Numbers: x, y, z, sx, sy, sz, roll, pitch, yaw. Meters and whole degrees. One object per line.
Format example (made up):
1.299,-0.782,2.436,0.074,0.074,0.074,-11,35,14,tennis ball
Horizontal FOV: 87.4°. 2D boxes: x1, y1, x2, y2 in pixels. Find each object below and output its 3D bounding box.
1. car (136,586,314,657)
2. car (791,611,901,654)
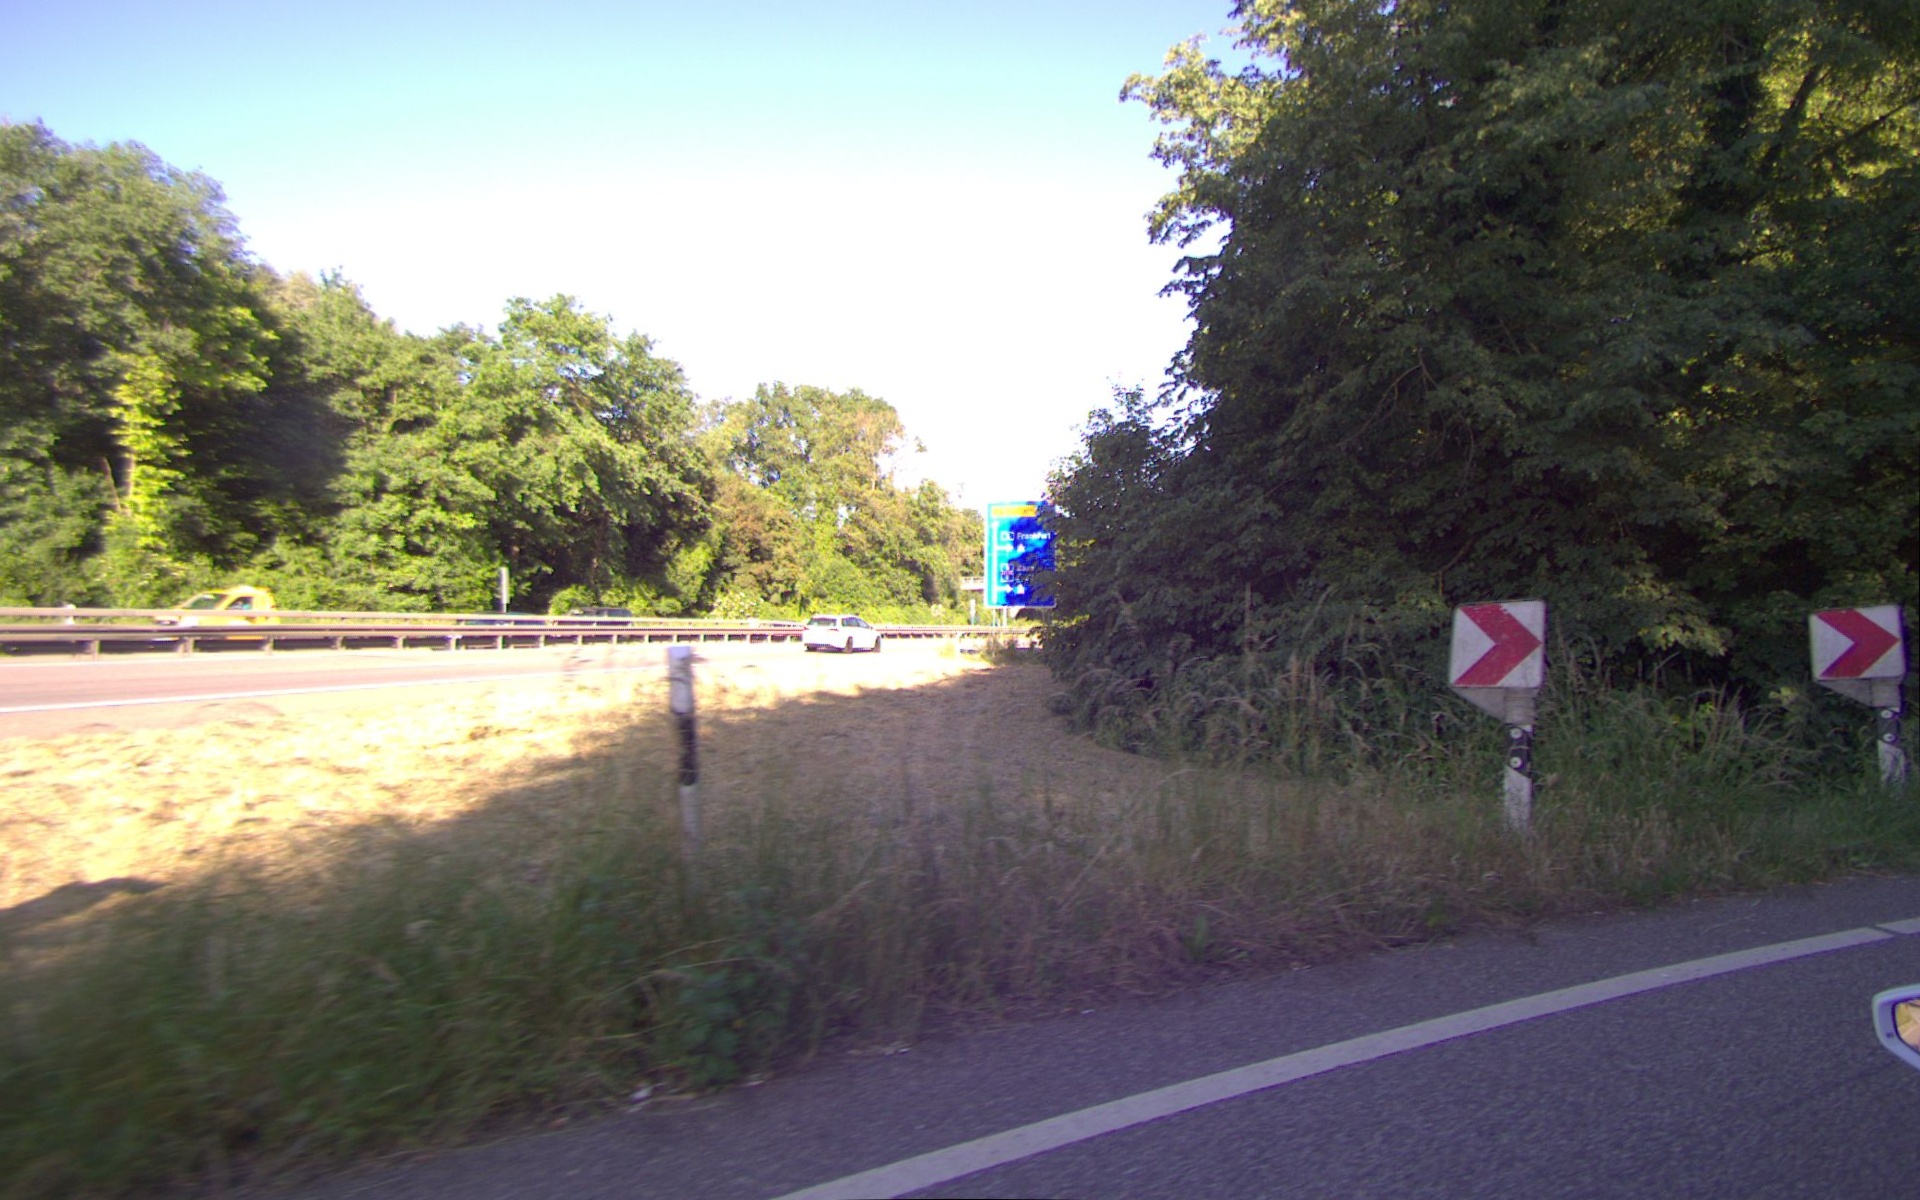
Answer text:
-22.722,0.696,31.232,1.961,2.040,4.000,1,-2,21,car
-4.407,1.301,39.855,1.898,1.527,5.599,2,-1,21,car
